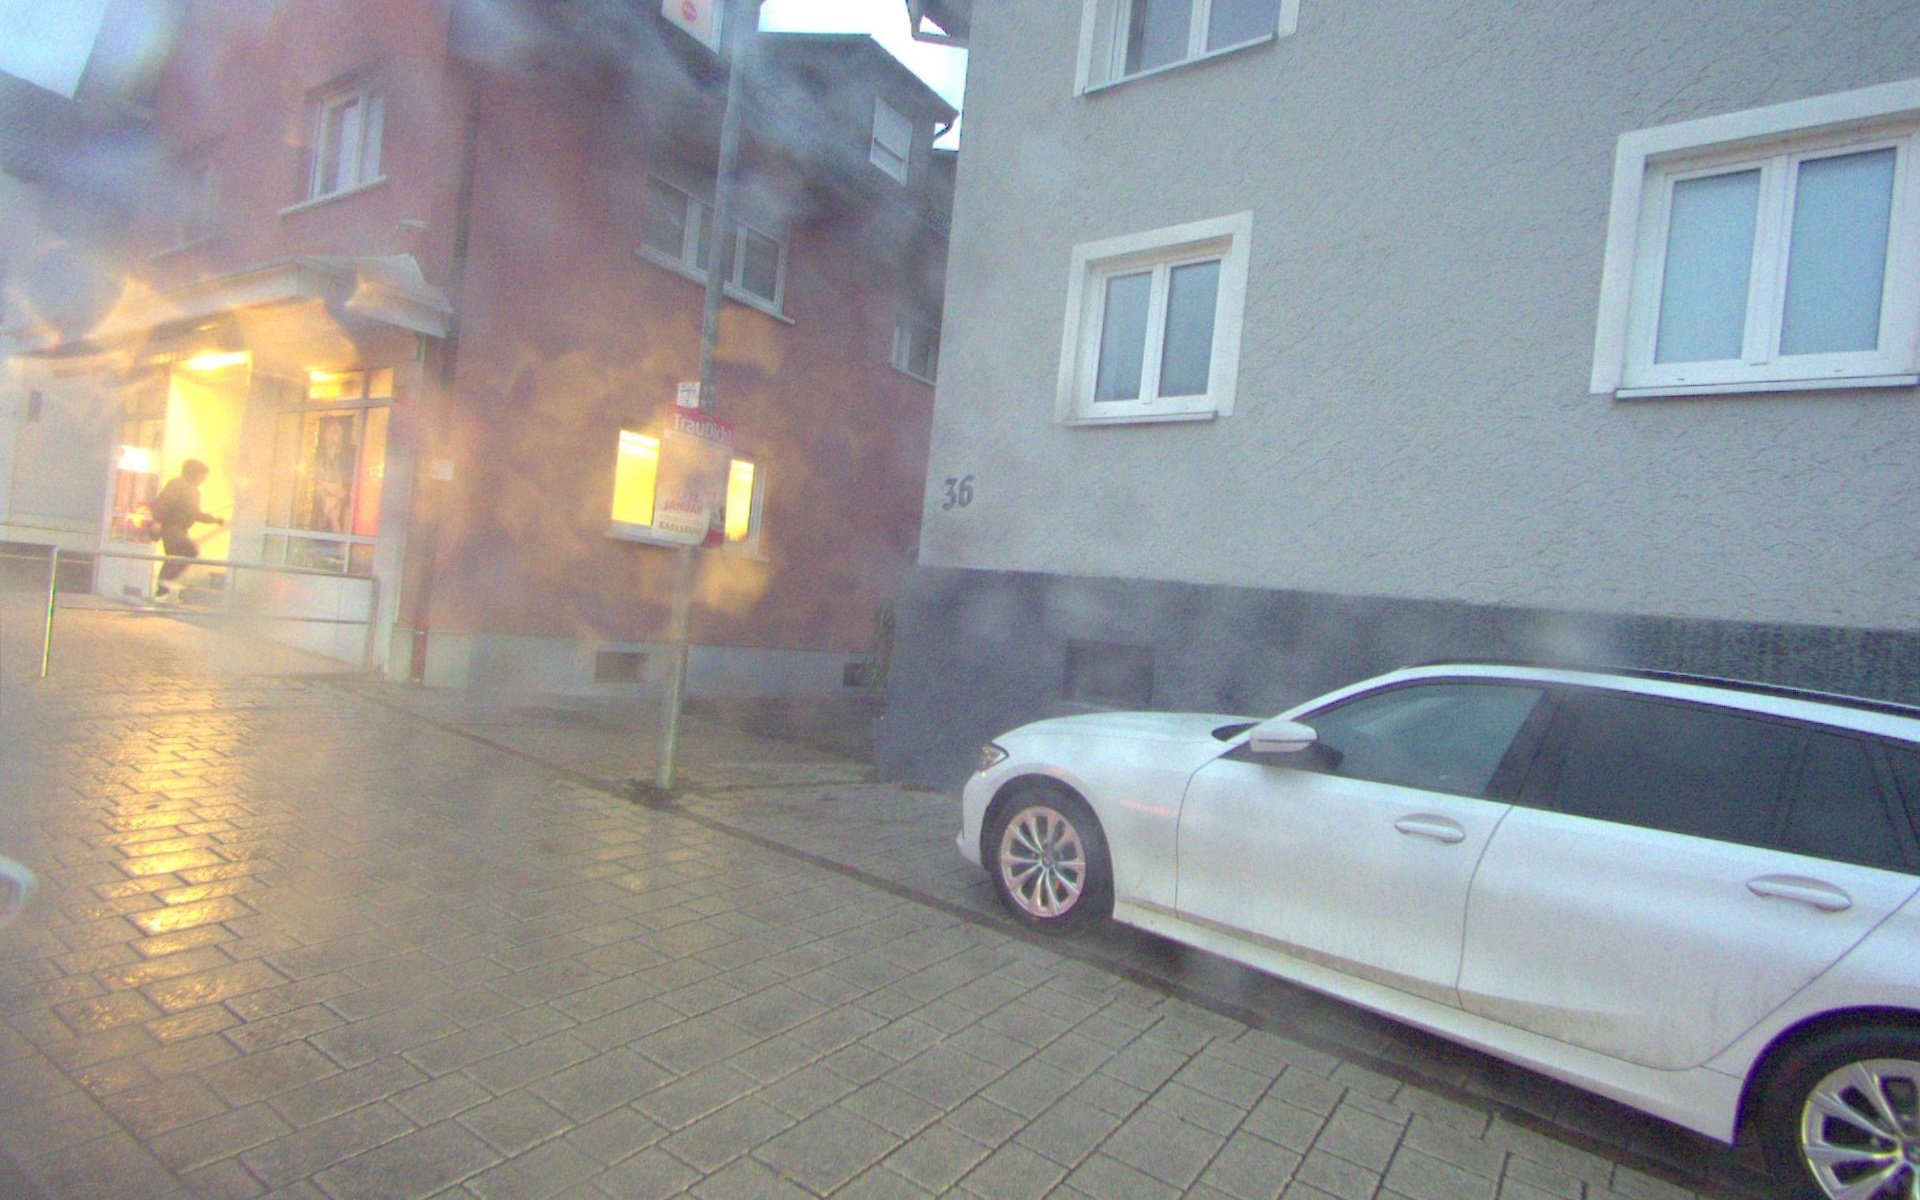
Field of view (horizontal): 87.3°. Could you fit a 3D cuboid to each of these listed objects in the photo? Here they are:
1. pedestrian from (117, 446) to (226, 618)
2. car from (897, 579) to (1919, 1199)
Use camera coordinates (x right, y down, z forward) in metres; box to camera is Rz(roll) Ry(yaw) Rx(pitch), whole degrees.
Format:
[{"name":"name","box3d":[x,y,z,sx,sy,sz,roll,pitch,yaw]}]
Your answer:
[{"name":"pedestrian","box3d":[-9.375,-0.795,11.963,0.812,1.910,0.663,6,-1,38]},{"name":"car","box3d":[2.048,0.912,4.069,4.478,1.485,1.880,7,1,41]}]
